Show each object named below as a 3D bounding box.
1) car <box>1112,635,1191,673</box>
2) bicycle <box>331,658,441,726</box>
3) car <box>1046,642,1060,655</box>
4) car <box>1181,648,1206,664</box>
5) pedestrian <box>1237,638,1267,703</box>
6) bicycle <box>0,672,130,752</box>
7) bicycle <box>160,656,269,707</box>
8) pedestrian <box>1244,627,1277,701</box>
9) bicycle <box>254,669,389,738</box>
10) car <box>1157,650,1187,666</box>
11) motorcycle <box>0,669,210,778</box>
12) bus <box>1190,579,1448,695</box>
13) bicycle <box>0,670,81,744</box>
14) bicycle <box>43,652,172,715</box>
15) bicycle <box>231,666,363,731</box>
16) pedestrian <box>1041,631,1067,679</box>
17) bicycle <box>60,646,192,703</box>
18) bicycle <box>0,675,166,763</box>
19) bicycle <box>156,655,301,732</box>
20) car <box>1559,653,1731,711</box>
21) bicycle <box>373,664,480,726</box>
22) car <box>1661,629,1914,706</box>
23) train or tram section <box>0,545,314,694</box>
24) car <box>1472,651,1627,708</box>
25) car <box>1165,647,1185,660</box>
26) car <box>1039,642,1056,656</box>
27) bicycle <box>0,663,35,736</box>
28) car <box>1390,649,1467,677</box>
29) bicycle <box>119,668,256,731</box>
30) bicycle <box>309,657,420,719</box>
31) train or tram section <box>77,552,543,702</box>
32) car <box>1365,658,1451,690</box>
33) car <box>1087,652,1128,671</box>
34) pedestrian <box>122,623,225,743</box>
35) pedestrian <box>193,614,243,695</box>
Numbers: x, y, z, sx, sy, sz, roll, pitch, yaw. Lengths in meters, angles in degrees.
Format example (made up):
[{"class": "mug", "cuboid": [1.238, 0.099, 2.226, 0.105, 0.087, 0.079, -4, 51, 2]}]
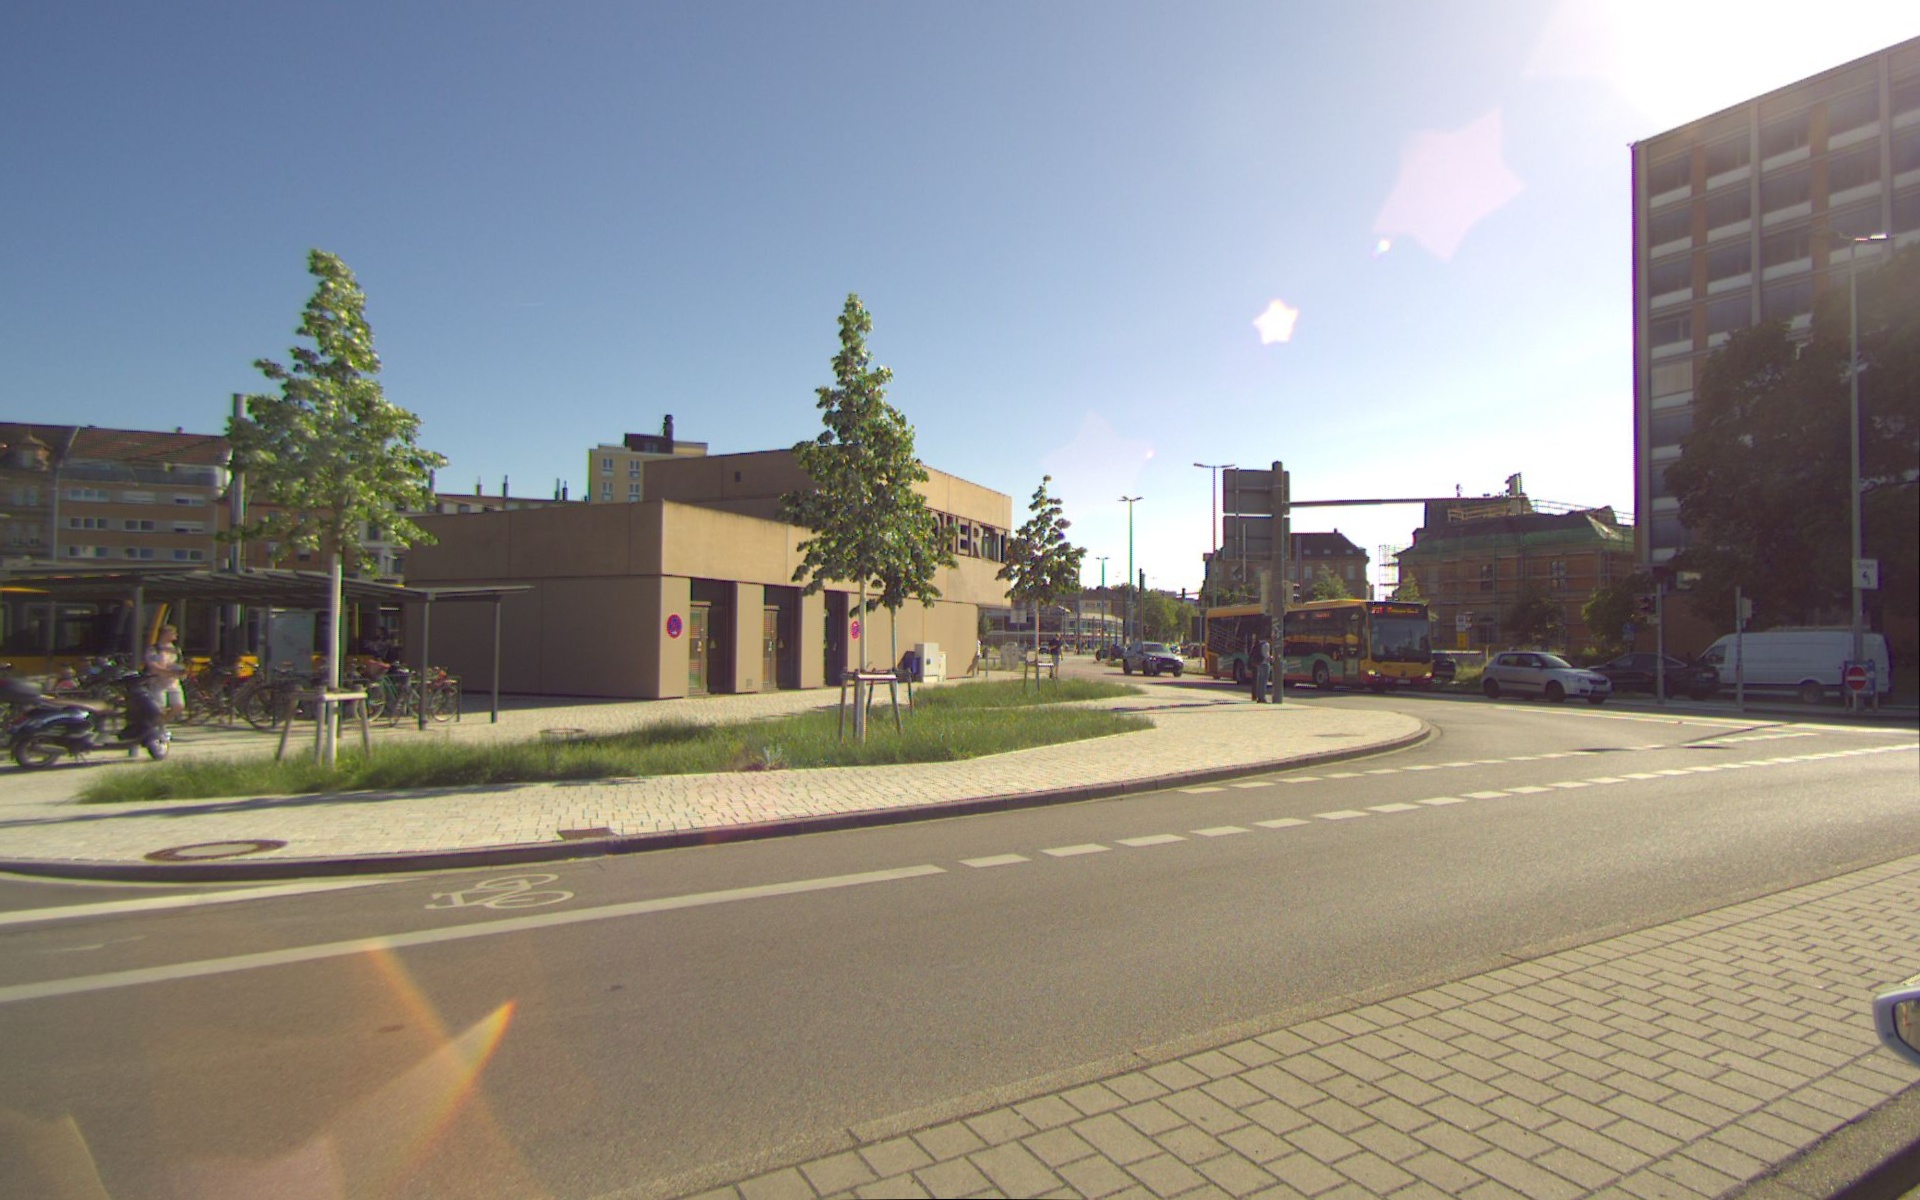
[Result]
[{"class": "car", "cuboid": [10.079, 2.838, 53.174, 1.975, 1.885, 4.720, 1, -2, -21]}, {"class": "bicycle", "cuboid": [-10.659, 1.684, 18.725, 0.616, 1.161, 1.831, 0, -2, 18]}, {"class": "car", "cuboid": [13.666, 7.099, 147.634, 1.865, 1.728, 4.003, 0, -2, 6]}, {"class": "car", "cuboid": [26.727, 6.445, 115.046, 1.960, 1.603, 4.001, 2, 0, 2]}, {"class": "pedestrian", "cuboid": [7.816, 1.876, 26.894, 0.594, 1.719, 0.634, 1, -2, -7]}, {"class": "bicycle", "cuboid": [-13.037, 1.565, 14.114, 0.617, 1.021, 2.026, 0, -2, 25]}, {"class": "bicycle", "cuboid": [-16.174, 1.743, 21.845, 0.617, 1.021, 1.829, 0, -2, 25]}, {"class": "pedestrian", "cuboid": [7.702, 1.635, 25.781, 0.594, 1.880, 0.681, 1, -2, -7]}, {"class": "bicycle", "cuboid": [-10.588, 1.686, 16.725, 0.617, 1.021, 1.828, 0, -2, 27]}, {"class": "car", "cuboid": [20.381, 5.548, 96.563, 2.060, 1.467, 3.914, 1, -2, 0]}, {"class": "motorcycle", "cuboid": [-10.835, 1.485, 12.517, 0.599, 1.173, 2.360, 0, -2, 25]}, {"class": "bus", "cuboid": [12.822, 1.387, 37.953, 3.193, 3.617, 12.437, 1, -2, -12]}, {"class": "bicycle", "cuboid": [-14.020, 1.557, 14.554, 0.617, 1.021, 1.829, 0, -2, 25]}, {"class": "bicycle", "cuboid": [-16.827, 1.619, 19.870, 0.617, 1.146, 1.828, 0, -2, 27]}, {"class": "bicycle", "cuboid": [-11.531, 1.688, 17.542, 0.492, 1.010, 1.887, 0, -2, 31]}, {"class": "pedestrian", "cuboid": [3.687, 2.156, 39.482, 0.826, 1.869, 0.866, 1, -2, -7]}, {"class": "bicycle", "cuboid": [-15.909, 1.401, 19.208, 0.617, 1.021, 1.828, 0, -2, 27]}, {"class": "bicycle", "cuboid": [-11.953, 1.566, 13.562, 0.617, 1.021, 1.829, 0, -2, 25]}, {"class": "bicycle", "cuboid": [-12.805, 1.607, 17.671, 0.496, 1.225, 2.051, 0, -2, 26]}, {"class": "car", "cuboid": [25.139, 2.965, 37.121, 1.969, 1.694, 5.026, 4, -1, -18]}, {"class": "bicycle", "cuboid": [-9.739, 1.717, 18.426, 0.616, 1.021, 1.832, 0, -2, 16]}, {"class": "car", "cuboid": [30.499, 2.390, 37.484, 2.961, 2.580, 6.940, 1, -2, -13]}, {"class": "train or tram section", "cuboid": [-24.078, 0.539, 26.423, 2.779, 3.648, 12.320, 0, -2, 24]}, {"class": "car", "cuboid": [17.751, 2.364, 30.459, 1.860, 1.421, 3.847, 4, -2, -13]}, {"class": "car", "cuboid": [29.809, 7.410, 139.379, 1.960, 1.603, 4.001, 2, 0, 2]}, {"class": "car", "cuboid": [12.387, 6.898, 141.532, 1.959, 1.814, 4.003, 0, -2, 12]}, {"class": "bicycle", "cuboid": [-15.188, 1.524, 15.053, 0.617, 1.094, 1.829, 0, -2, 25]}, {"class": "car", "cuboid": [27.064, 3.632, 58.165, 2.030, 1.458, 4.049, 1, -2, -12]}, {"class": "bicycle", "cuboid": [-13.781, 1.750, 17.979, 0.617, 1.021, 1.828, 0, -2, 27]}, {"class": "bicycle", "cuboid": [-11.662, 1.696, 19.731, 0.617, 1.107, 1.829, 0, -2, 25]}, {"class": "train or tram section", "cuboid": [-18.674, 0.877, 30.671, 2.702, 3.648, 12.318, 0, -2, 25]}, {"class": "car", "cuboid": [22.471, 3.689, 50.556, 2.029, 1.458, 4.051, 1, -2, -11]}, {"class": "car", "cuboid": [14.285, 5.953, 97.172, 1.764, 1.795, 3.965, 2, -3, -33]}, {"class": "pedestrian", "cuboid": [-11.867, 1.223, 15.166, 1.005, 1.727, 0.838, 0, -2, 26]}, {"class": "pedestrian", "cuboid": [-17.552, 1.283, 23.779, 0.738, 1.880, 0.709, 1, -2, -19]}]
